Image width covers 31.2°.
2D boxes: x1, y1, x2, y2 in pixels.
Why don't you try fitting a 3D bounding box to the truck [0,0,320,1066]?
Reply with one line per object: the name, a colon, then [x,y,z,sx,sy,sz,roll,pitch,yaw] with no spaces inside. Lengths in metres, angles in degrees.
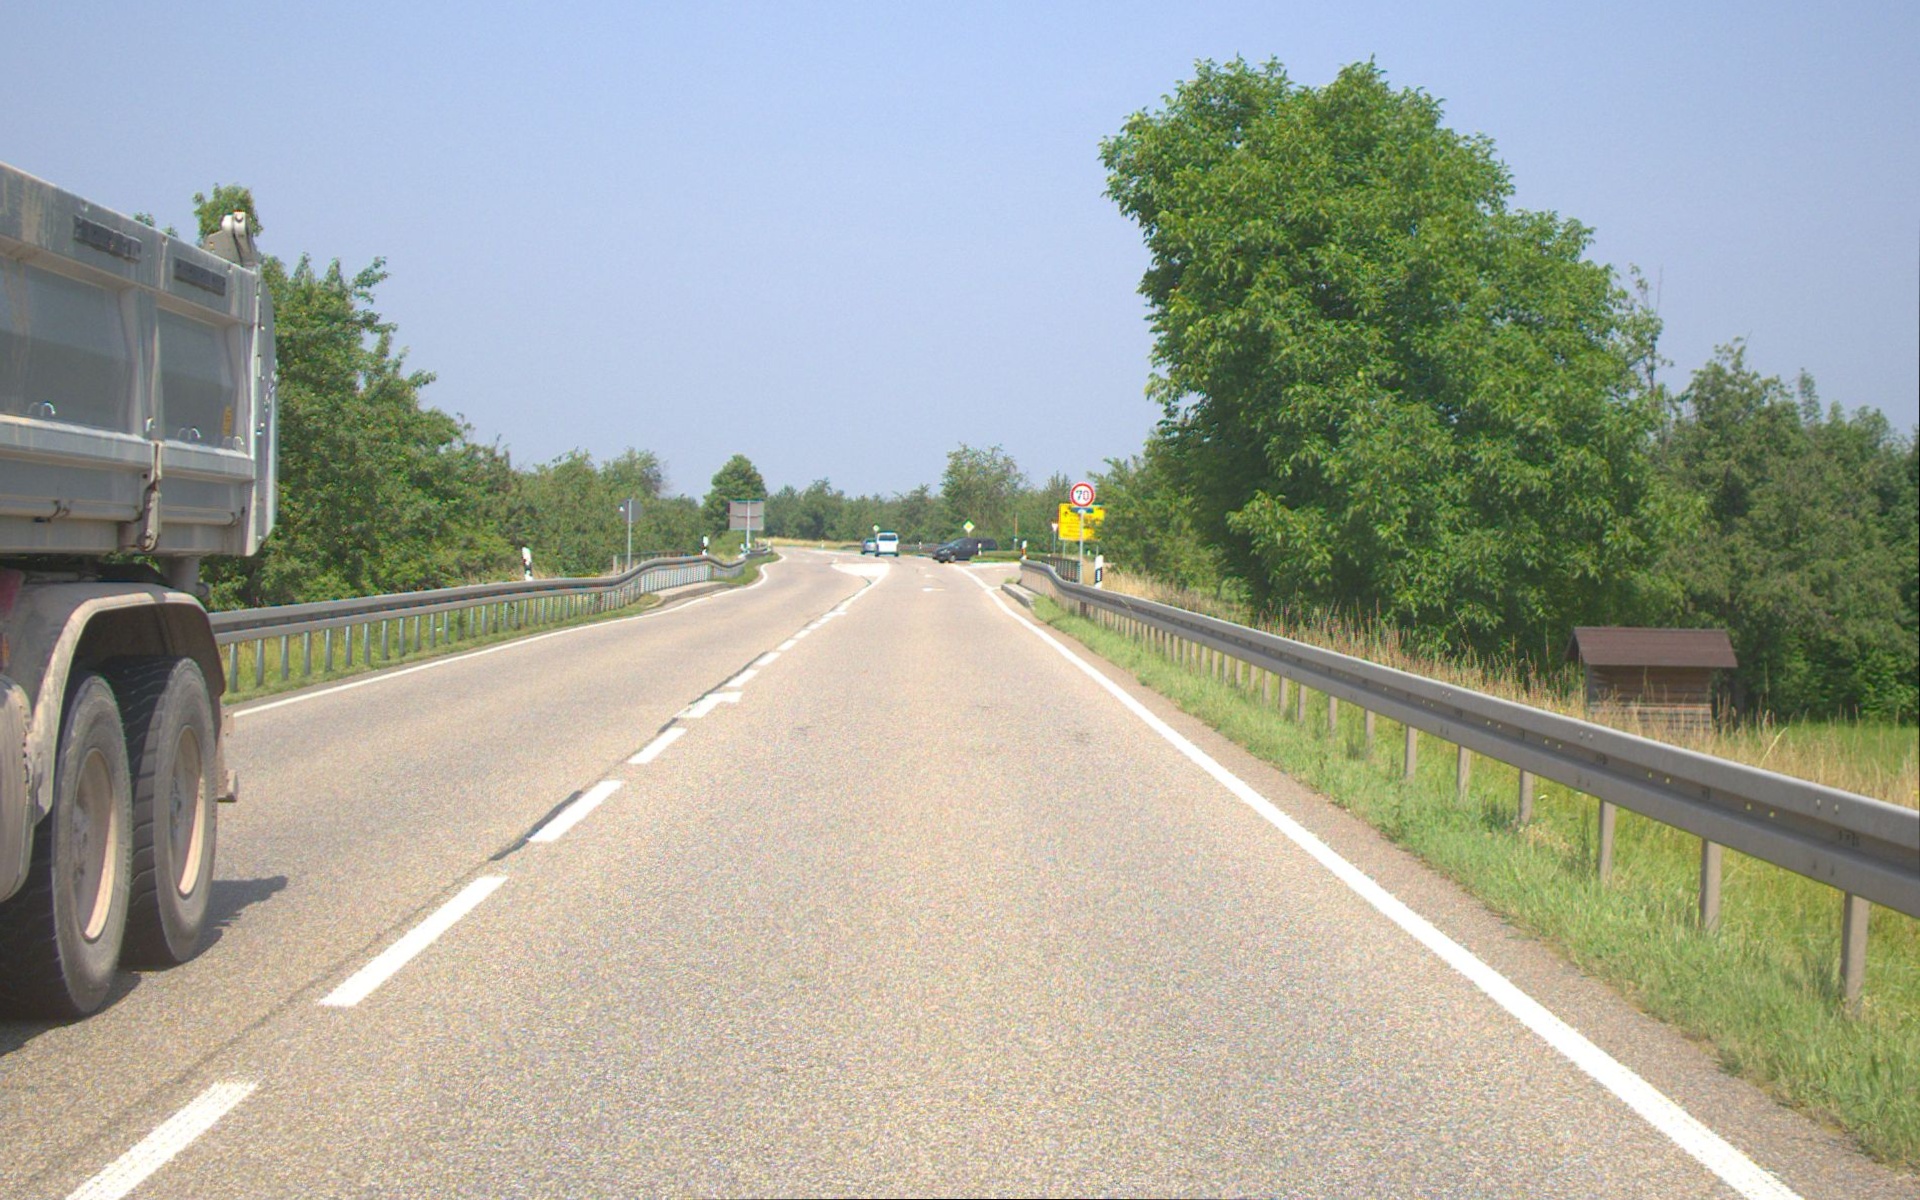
truck: [-3.930,-0.591,9.332,2.728,3.659,9.384,1,1,-1]
